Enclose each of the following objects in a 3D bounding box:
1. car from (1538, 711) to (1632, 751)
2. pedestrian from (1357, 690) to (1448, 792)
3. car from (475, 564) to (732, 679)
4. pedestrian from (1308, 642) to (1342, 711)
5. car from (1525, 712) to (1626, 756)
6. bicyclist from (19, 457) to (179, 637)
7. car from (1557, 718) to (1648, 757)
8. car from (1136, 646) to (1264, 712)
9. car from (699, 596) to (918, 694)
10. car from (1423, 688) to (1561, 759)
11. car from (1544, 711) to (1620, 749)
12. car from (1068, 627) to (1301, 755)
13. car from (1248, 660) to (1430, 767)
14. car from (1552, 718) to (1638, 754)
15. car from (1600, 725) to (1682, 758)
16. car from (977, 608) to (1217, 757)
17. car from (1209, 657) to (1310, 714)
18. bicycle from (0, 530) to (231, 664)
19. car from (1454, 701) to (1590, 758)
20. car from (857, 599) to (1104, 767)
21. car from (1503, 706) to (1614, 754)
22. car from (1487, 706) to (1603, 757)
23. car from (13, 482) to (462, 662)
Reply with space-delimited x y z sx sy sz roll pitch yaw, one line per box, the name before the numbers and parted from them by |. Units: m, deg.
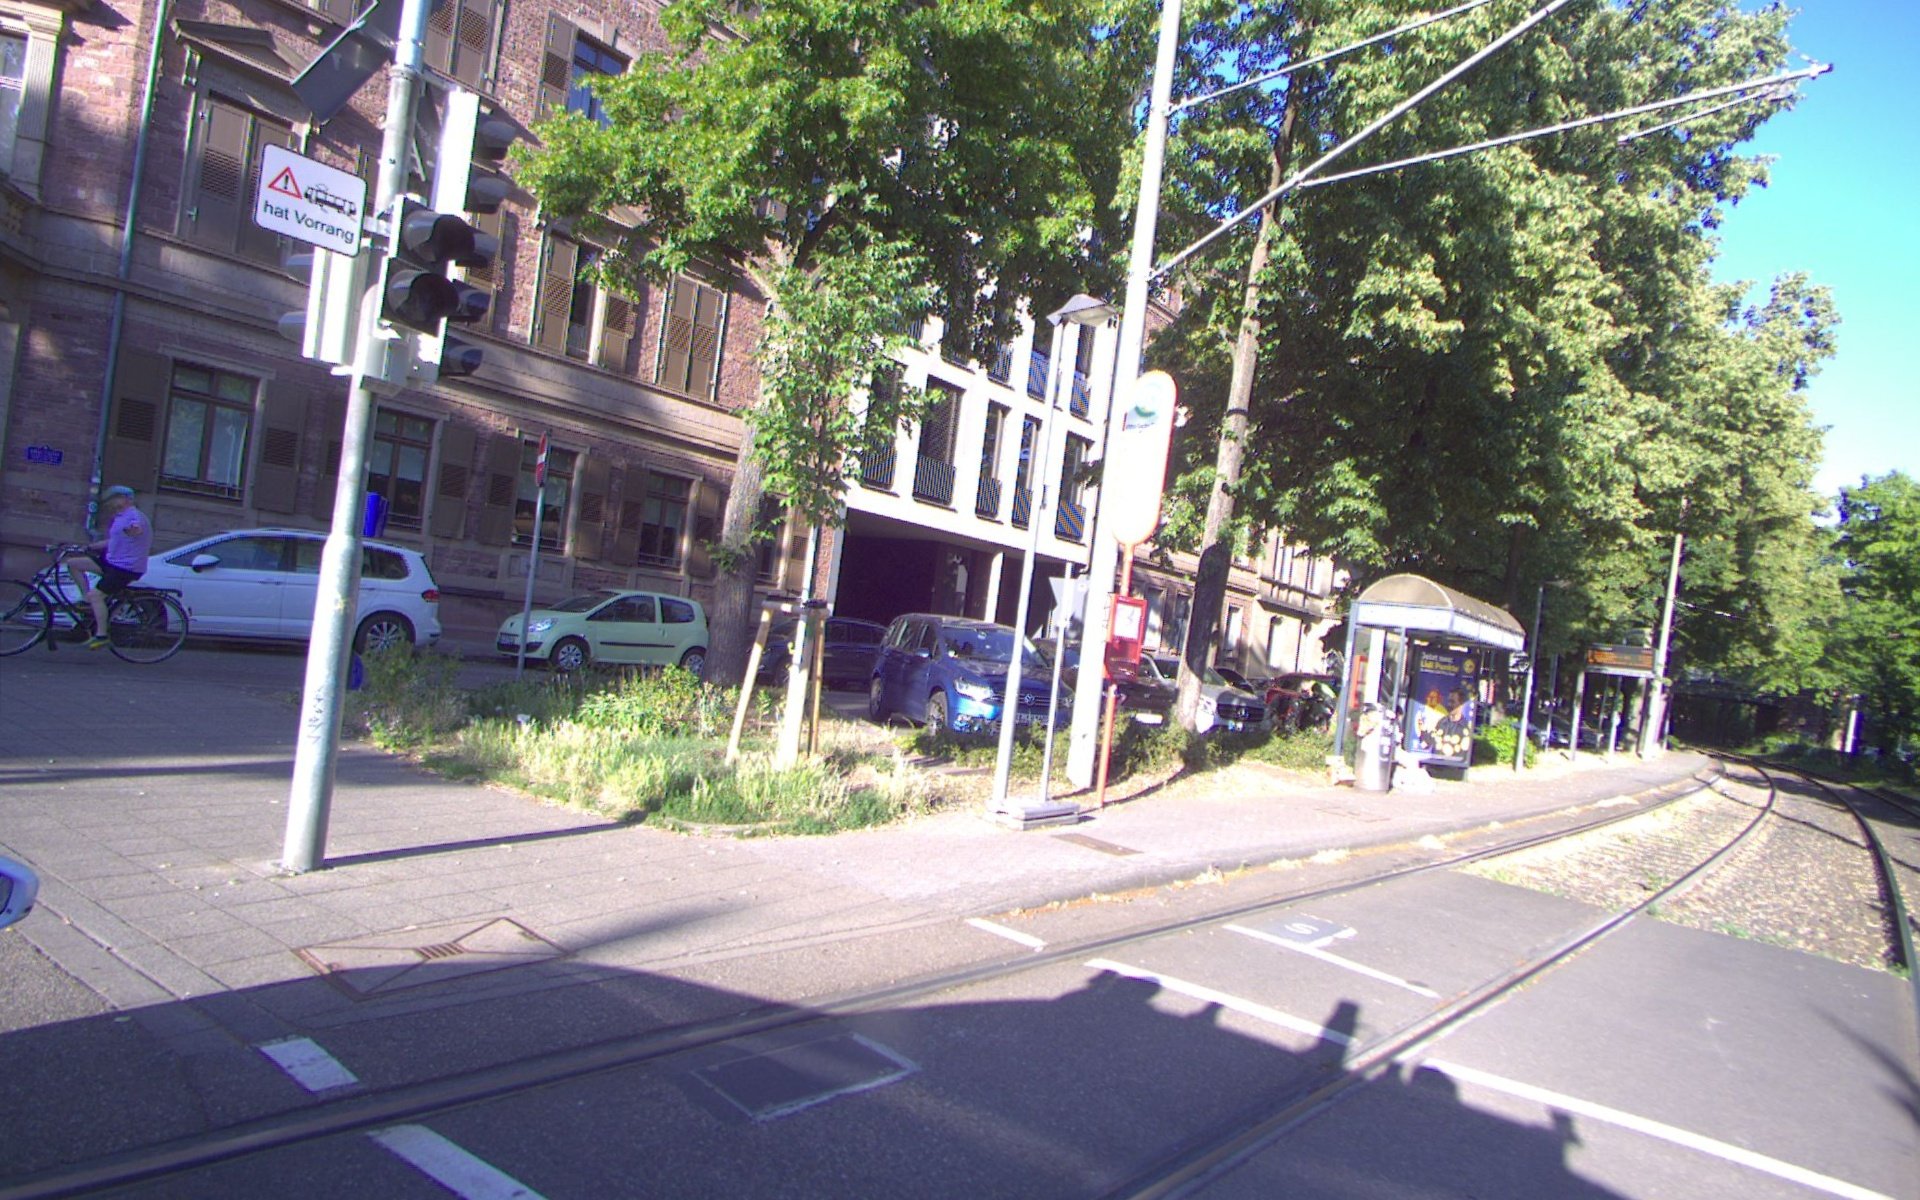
car | 33.608 7.021 54.224 1.724 1.294 3.983 9 0 -18
pedestrian | 6.361 2.012 14.458 0.813 1.288 0.872 8 0 43
car | -6.035 0.416 17.329 1.718 1.506 3.710 5 -3 41
pedestrian | 16.580 3.462 45.723 0.907 2.983 0.697 8 0 39
car | 30.394 6.603 49.835 1.724 1.294 3.983 9 0 -18
bicyclist | -8.550 -0.510 10.004 0.690 1.606 0.873 8 -1 35
car | 35.627 7.595 55.884 1.724 1.294 3.983 9 0 -18
car | 7.879 2.599 32.732 1.972 1.586 4.574 9 -1 42
car | -3.001 0.962 20.554 1.719 1.506 4.145 5 -4 43
car | 18.988 4.364 36.126 1.782 1.715 4.269 9 0 -14
car | 43.420 9.061 70.270 1.731 1.788 3.966 9 0 -31
car | 3.827 1.525 18.109 1.902 1.504 4.534 9 0 -17
car | 8.845 2.598 23.976 1.897 1.742 4.545 9 0 -8
car | 37.201 7.955 59.080 1.724 1.294 3.983 9 0 -18
car | 43.381 9.005 64.185 1.724 1.294 3.983 9 0 -18
car | 1.985 1.195 16.234 1.902 1.654 4.534 9 0 -17
car | 10.996 3.143 36.769 1.970 1.586 4.229 9 -1 38
bicycle | -8.653 -0.029 9.955 0.690 1.066 2.121 8 -2 34
car | 20.997 4.811 37.792 1.783 1.294 4.265 9 0 -17
car | 0.064 0.991 13.804 1.718 1.706 4.401 9 -2 -20
car | 26.529 5.740 44.744 1.724 1.294 3.984 9 -1 -18
car | 24.709 5.536 42.666 1.724 1.294 3.983 9 0 -18
car | -9.396 -0.254 13.405 1.850 1.668 4.478 5 -4 43
